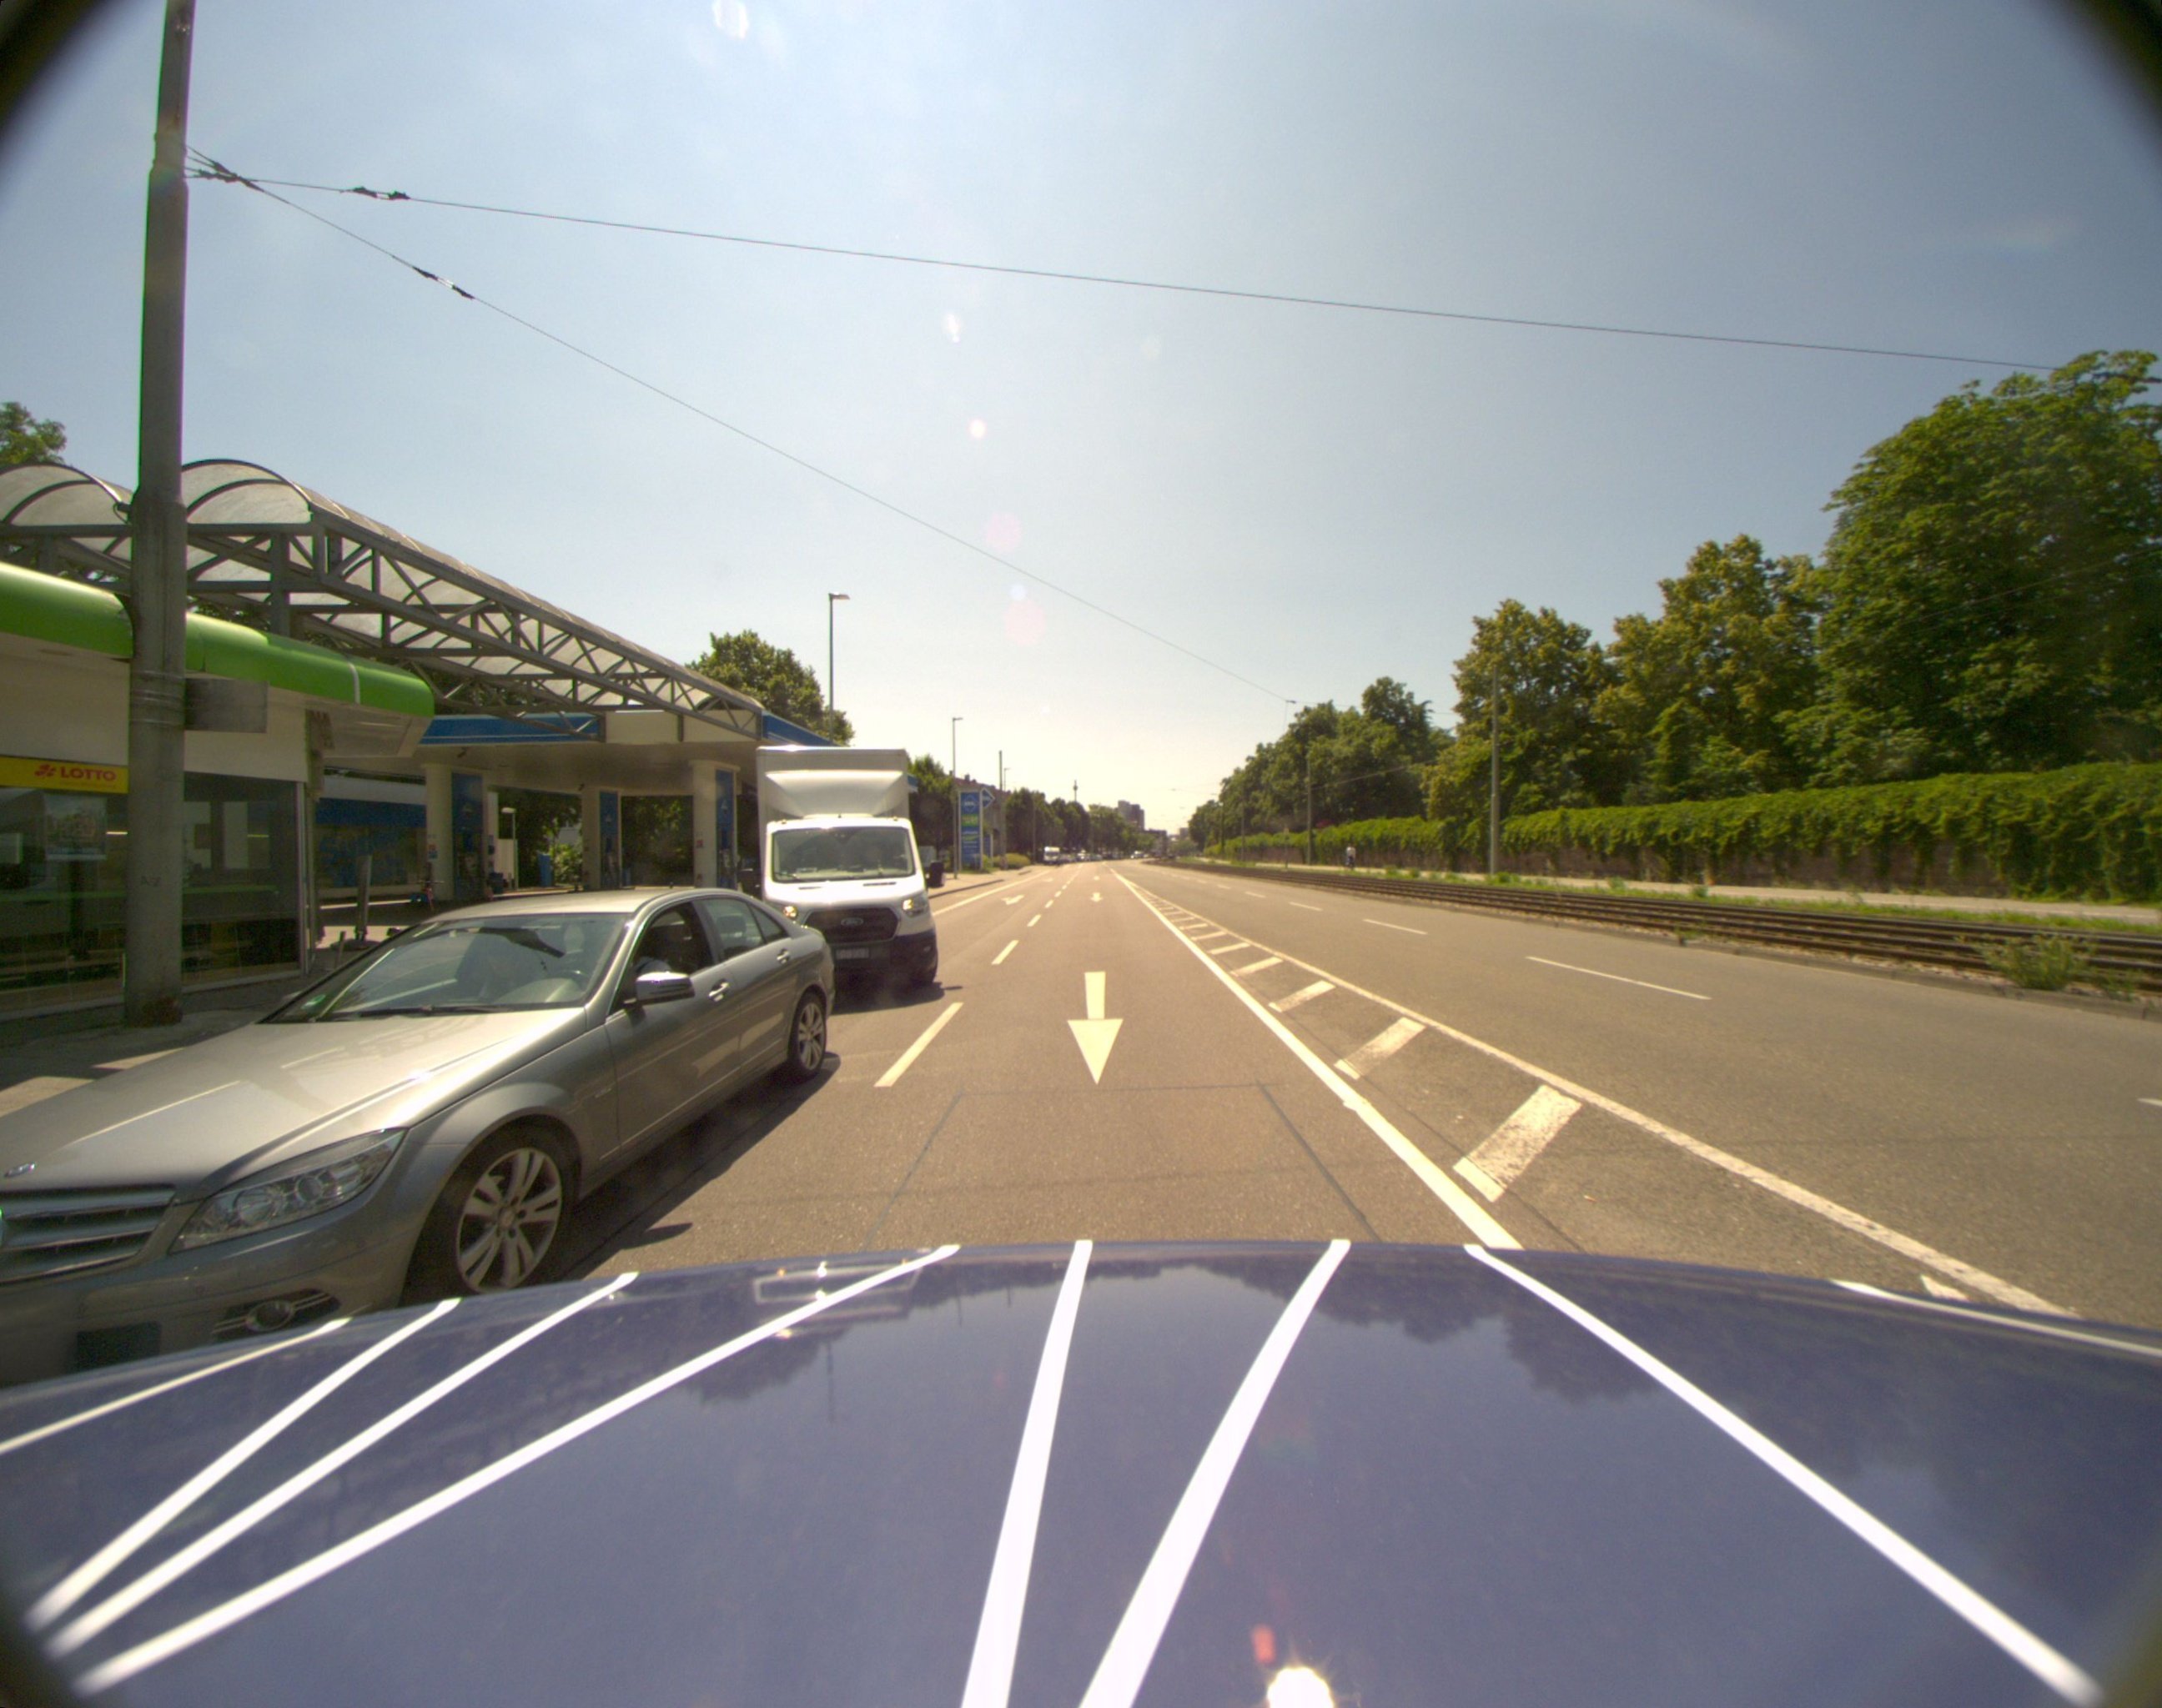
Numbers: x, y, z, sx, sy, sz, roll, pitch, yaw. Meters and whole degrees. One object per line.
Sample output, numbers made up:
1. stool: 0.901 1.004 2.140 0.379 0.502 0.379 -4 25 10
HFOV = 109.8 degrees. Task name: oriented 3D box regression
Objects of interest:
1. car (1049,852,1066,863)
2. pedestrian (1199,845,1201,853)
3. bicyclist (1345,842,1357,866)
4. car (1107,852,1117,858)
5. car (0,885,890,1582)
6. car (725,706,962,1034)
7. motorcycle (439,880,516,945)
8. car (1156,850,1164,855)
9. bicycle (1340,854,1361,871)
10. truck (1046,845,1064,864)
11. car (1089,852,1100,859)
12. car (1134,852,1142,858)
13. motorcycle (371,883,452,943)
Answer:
1. car: -3.329 0.521 109.044 1.912 1.488 4.001 -2 1 4
2. pedestrian: 26.935 -1.107 172.254 0.453 1.655 0.302 -2 0 1
3. bicyclist: 18.274 0.002 51.376 0.483 1.603 0.768 -2 1 -2
4. car: 8.341 0.237 203.332 1.911 1.488 4.002 -2 1 10
5. car: -2.780 1.051 4.495 1.717 1.464 5.302 -3 0 2
6. car: -3.910 0.139 12.097 2.233 3.316 8.621 -3 1 -20
7. motorcycle: -11.591 1.118 14.600 1.157 1.203 0.364 1 -1 -1
8. car: 24.142 -0.418 232.266 1.800 1.488 3.968 -2 0 16
9. bicycle: 18.265 0.554 51.531 0.618 1.049 1.977 -2 1 -2
10. truck: -3.416 0.039 101.649 1.998 2.462 5.237 -2 1 1
11. car: 3.140 0.307 172.028 1.911 1.488 4.002 -2 1 10
12. car: 16.353 0.233 217.614 1.945 1.674 4.003 -2 1 12
13. motorcycle: -12.837 1.132 14.581 1.157 1.107 0.396 1 -1 -1
